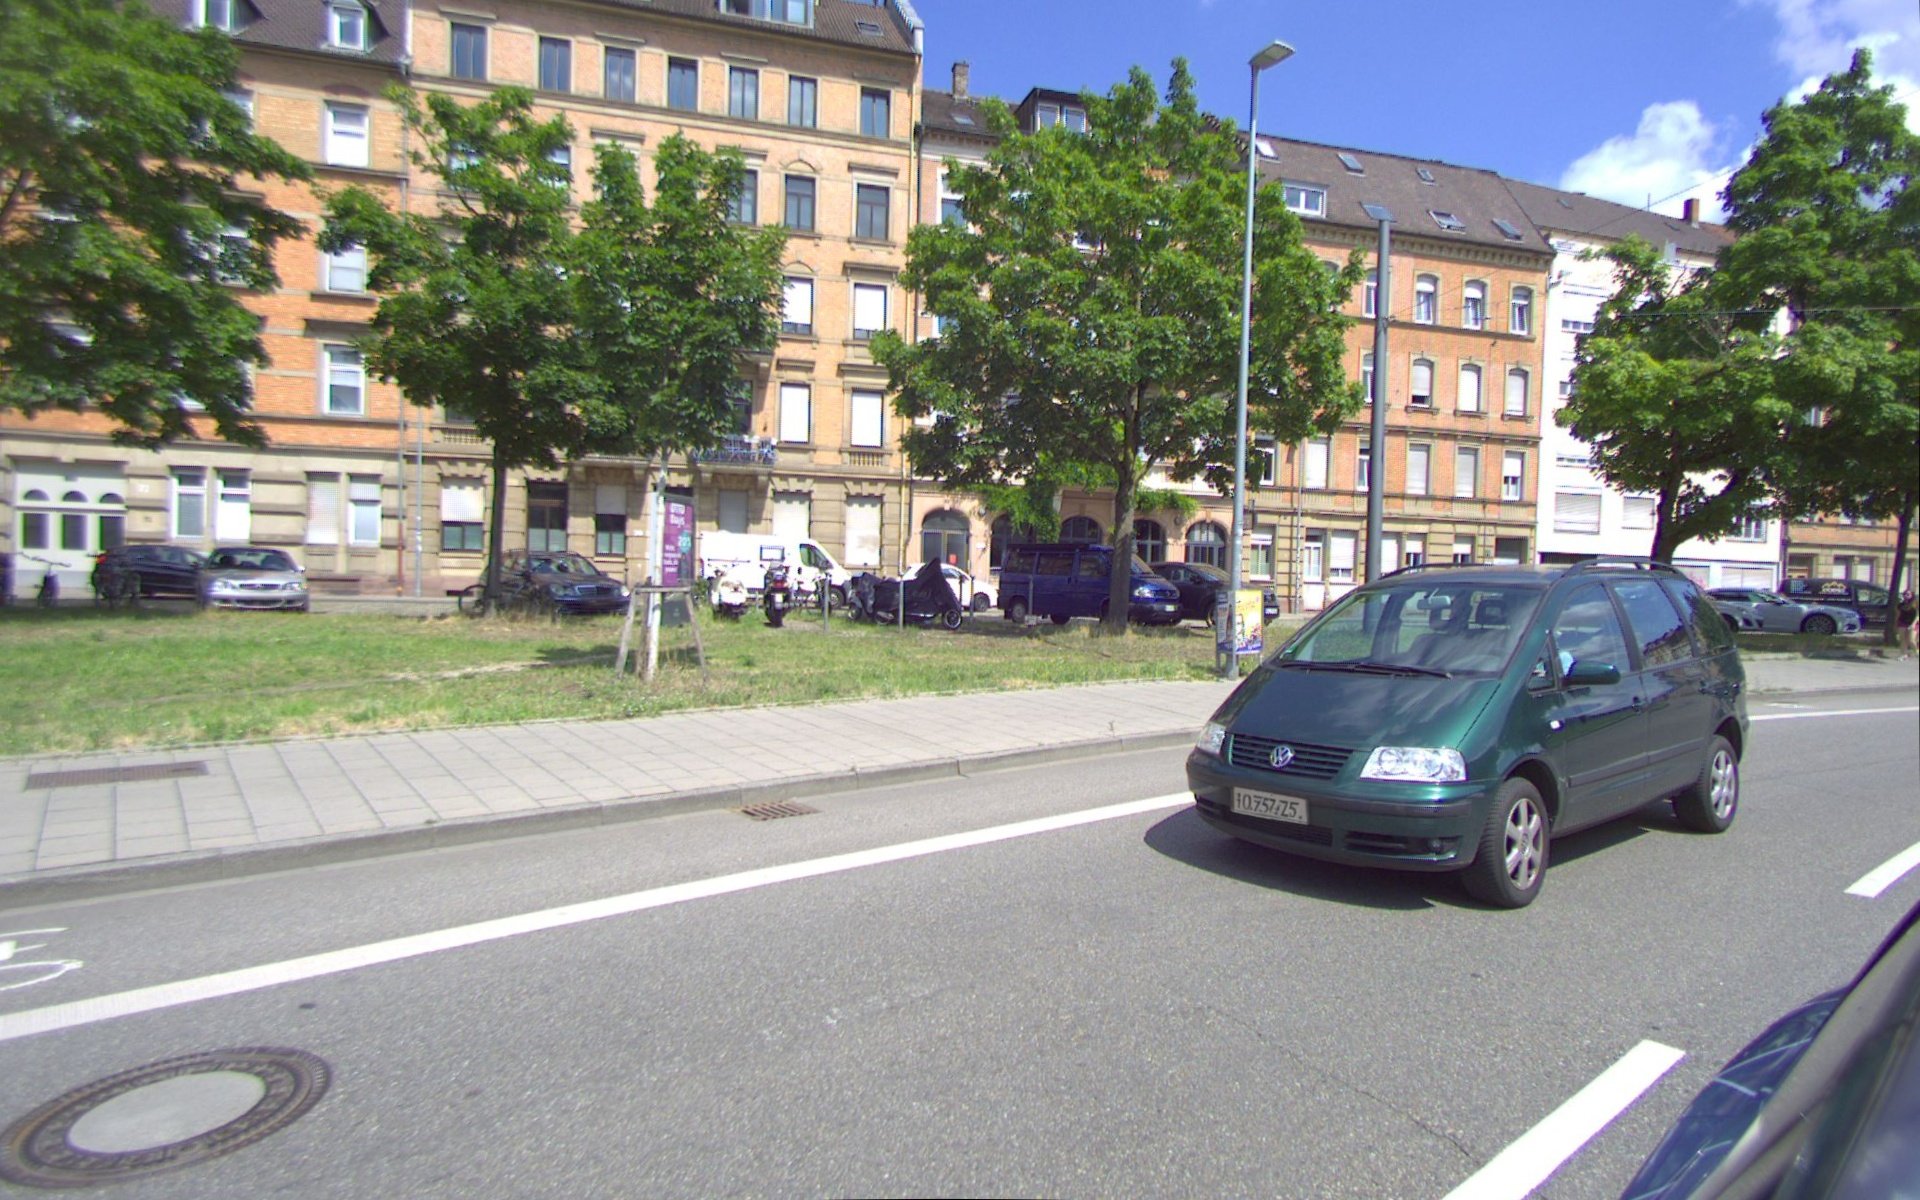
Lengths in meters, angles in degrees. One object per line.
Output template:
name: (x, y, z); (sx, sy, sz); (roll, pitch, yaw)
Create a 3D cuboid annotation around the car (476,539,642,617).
car: (-8.370, -0.485, 20.929); (1.775, 1.445, 4.252); (1, 2, -42)

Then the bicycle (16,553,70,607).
bicycle: (-17.491, -0.385, 19.341); (0.534, 0.968, 2.390); (1, 0, -37)

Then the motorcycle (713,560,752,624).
motorcycle: (-4.413, -0.174, 19.569); (0.626, 1.181, 1.793); (1, 1, -15)

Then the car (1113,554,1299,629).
car: (5.991, -0.215, 24.985); (1.882, 1.677, 4.170); (1, 0, -40)

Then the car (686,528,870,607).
car: (-5.510, -0.944, 30.605); (5.280, 2.206, 2.122); (1, 0, -13)

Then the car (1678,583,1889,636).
car: (23.892, 0.226, 29.497); (4.677, 1.397, 1.824); (1, 0, 43)

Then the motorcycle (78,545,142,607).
motorcycle: (-16.599, -0.454, 19.810); (0.797, 1.139, 2.390); (1, 0, -37)

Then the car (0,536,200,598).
car: (-22.388, -0.835, 26.373); (3.772, 1.510, 1.668); (1, 0, -13)

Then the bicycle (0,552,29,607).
bicycle: (-17.988, -0.390, 18.969); (0.534, 0.981, 2.390); (1, 0, -37)

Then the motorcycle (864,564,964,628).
motorcycle: (-0.889, -0.078, 19.692); (1.870, 1.181, 0.640); (1, 1, -1)

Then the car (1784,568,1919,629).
car: (27.576, -0.049, 30.380); (4.347, 1.763, 1.825); (1, 0, 41)

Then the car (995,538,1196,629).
car: (3.143, -0.390, 24.208); (1.885, 1.952, 4.619); (1, 0, -44)

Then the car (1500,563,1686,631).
car: (17.783, -0.104, 28.565); (1.821, 1.763, 4.140); (1, 0, -44)

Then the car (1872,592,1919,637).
car: (31.234, 0.485, 31.420); (4.251, 1.397, 1.825); (1, 0, 41)

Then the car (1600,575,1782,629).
car: (20.833, 0.031, 28.928); (4.069, 1.423, 1.824); (1, 0, 42)

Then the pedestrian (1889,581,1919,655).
pedestrian: (21.832, 0.409, 22.904); (0.886, 1.611, 0.704); (1, 4, -14)

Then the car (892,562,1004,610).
car: (-0.405, -0.453, 32.033); (3.281, 1.420, 1.572); (1, 1, -11)

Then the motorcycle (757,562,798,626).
motorcycle: (-3.586, -0.139, 19.818); (0.626, 1.181, 1.793); (1, 1, -15)

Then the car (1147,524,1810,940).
car: (3.594, 0.555, 6.538); (4.938, 1.778, 1.824); (0, 0, -37)

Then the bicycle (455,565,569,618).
bicycle: (-7.939, -0.144, 18.001); (1.782, 0.913, 0.545); (1, 0, -17)

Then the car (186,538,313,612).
car: (-13.803, -0.459, 19.586); (1.829, 1.260, 4.162); (1, 0, -37)
